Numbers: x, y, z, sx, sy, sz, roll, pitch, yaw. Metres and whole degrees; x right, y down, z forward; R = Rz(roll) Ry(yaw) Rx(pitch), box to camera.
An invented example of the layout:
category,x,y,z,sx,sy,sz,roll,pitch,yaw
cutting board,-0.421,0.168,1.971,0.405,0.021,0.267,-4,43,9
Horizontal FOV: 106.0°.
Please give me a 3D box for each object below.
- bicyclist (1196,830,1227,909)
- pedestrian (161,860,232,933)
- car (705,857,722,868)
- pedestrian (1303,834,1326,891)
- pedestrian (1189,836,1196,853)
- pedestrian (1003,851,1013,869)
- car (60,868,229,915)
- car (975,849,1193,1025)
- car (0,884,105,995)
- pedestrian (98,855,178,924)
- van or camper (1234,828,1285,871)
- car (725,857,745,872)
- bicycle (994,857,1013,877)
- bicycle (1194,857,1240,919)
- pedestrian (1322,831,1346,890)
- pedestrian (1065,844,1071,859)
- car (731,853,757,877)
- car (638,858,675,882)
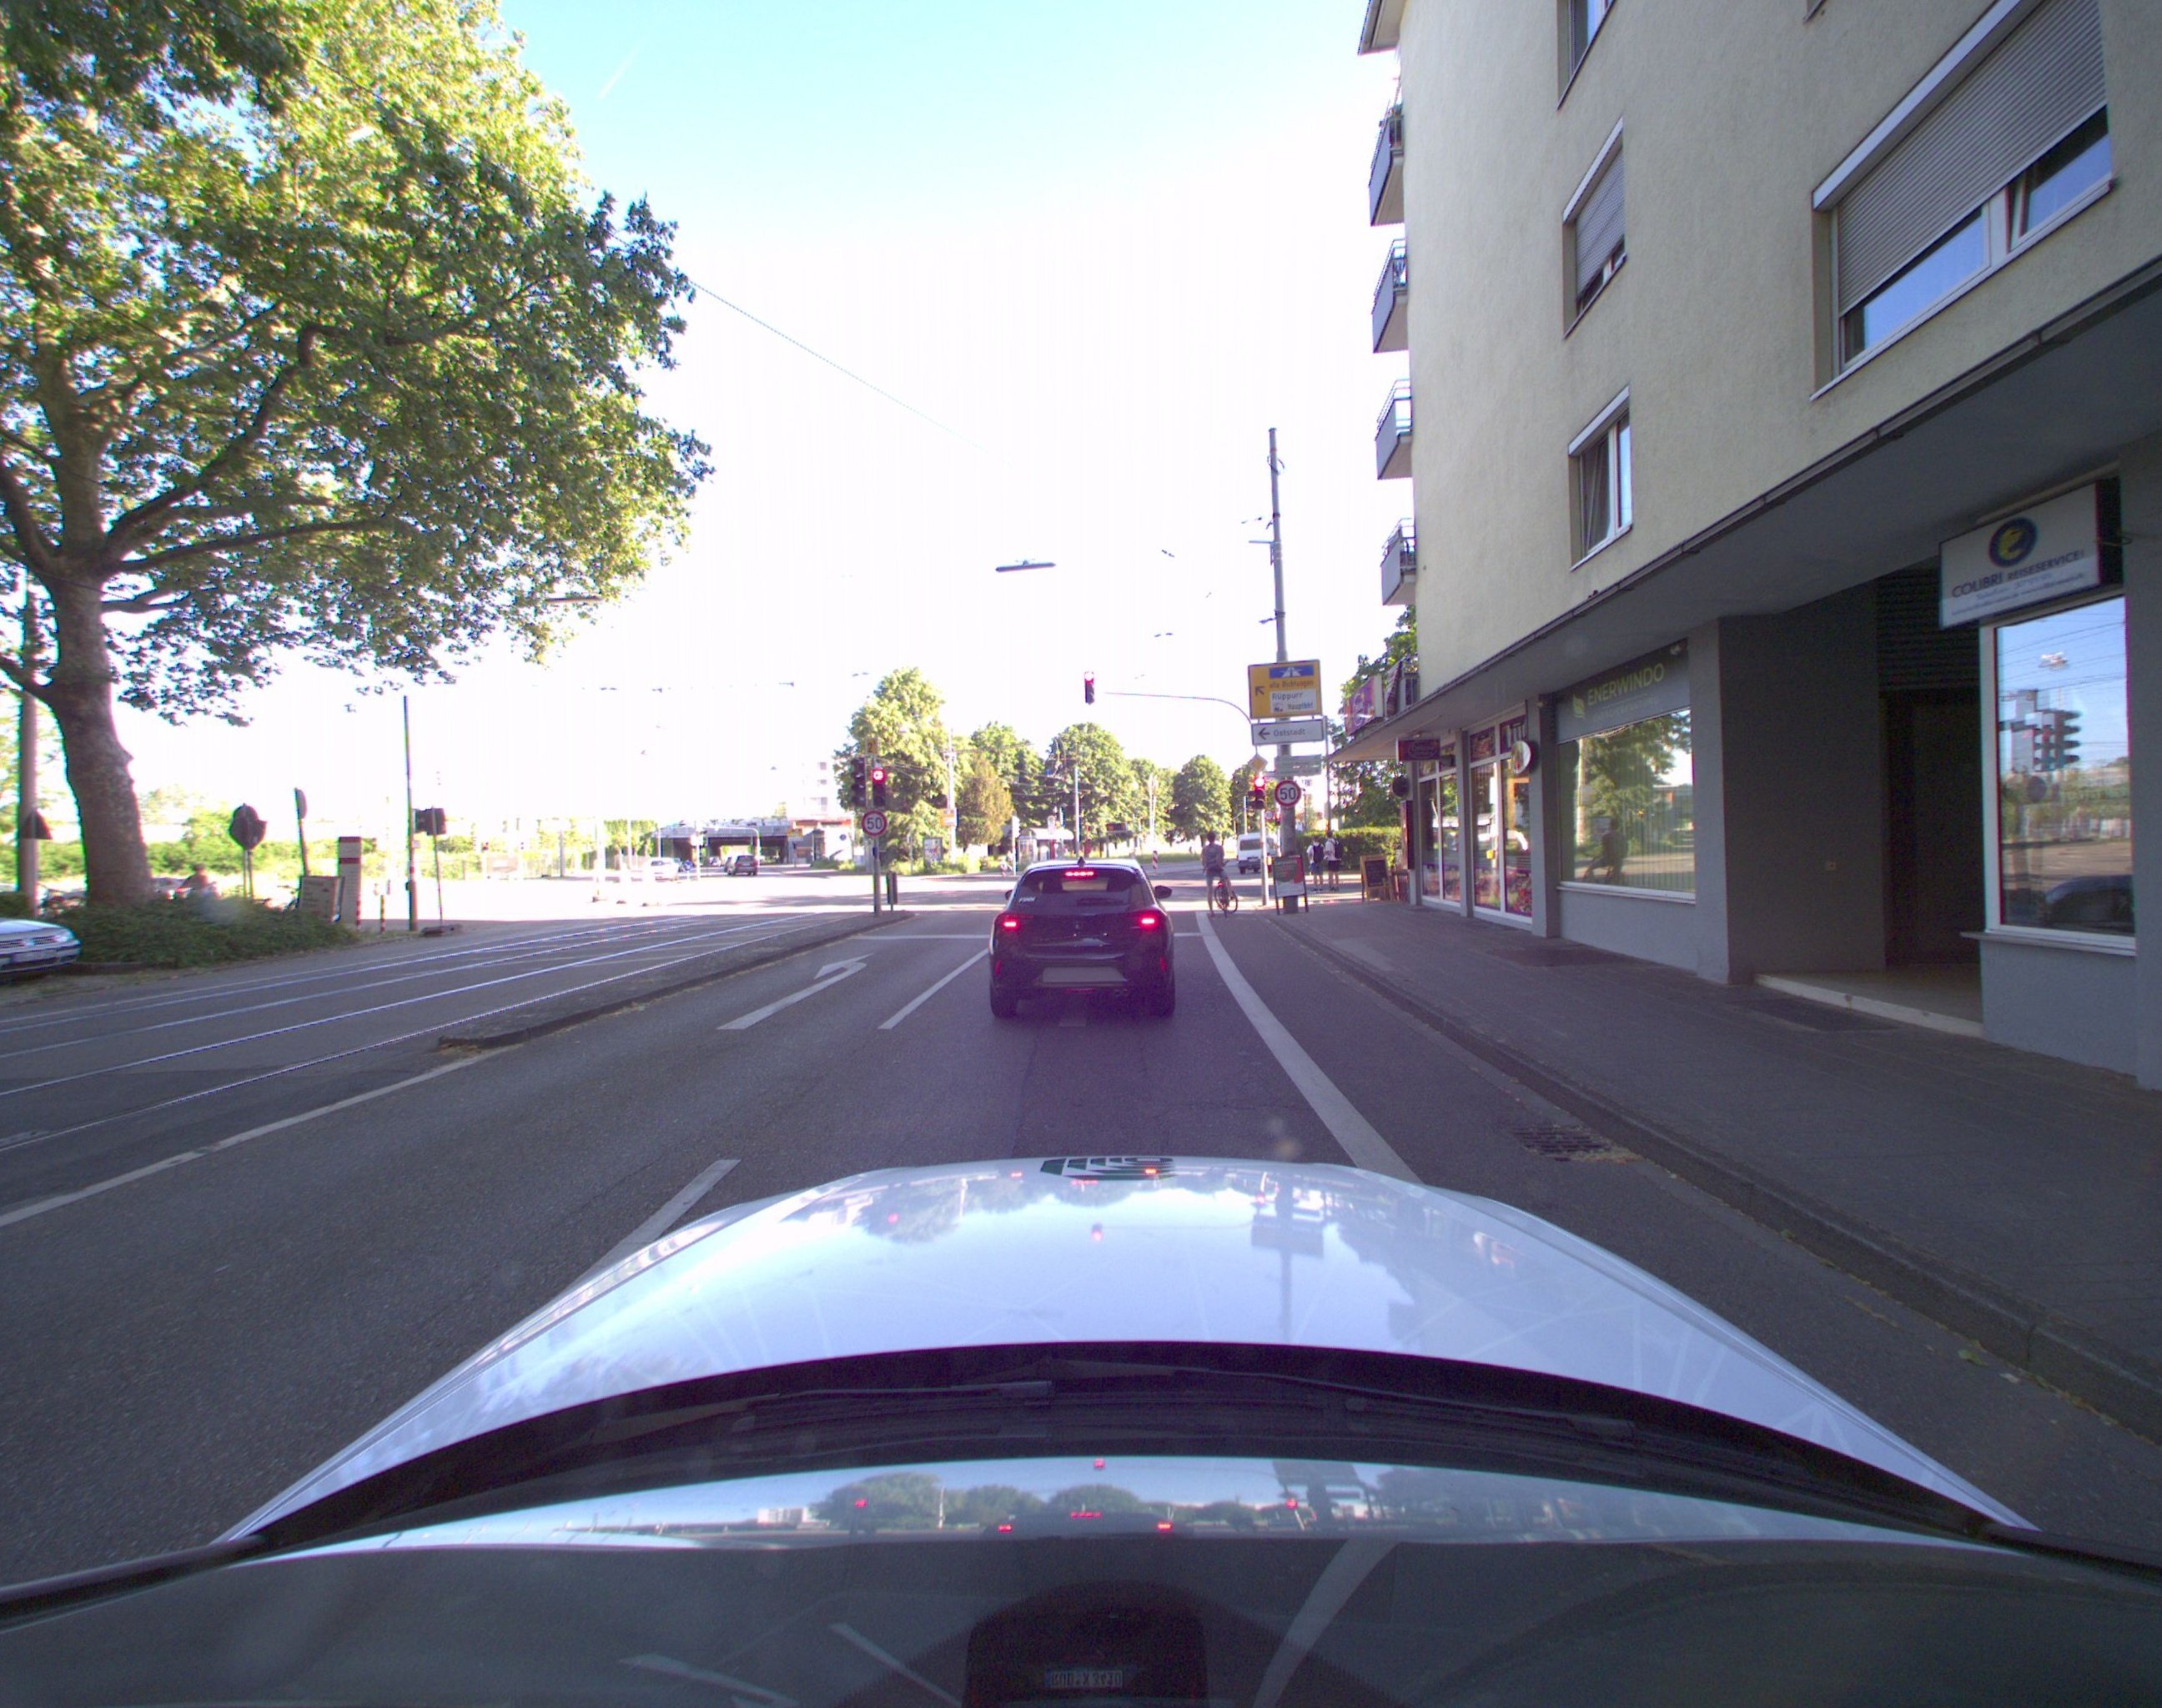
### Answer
category,x,y,z,sx,sy,sz,roll,pitch,yaw
bicyclist,2.871,0.331,17.838,0.529,1.692,0.571,-2,0,19
pedestrian,-21.000,0.987,19.356,0.774,1.661,0.949,0,-1,-19
car,-51.159,1.165,113.341,1.892,1.585,3.809,0,-1,-21
pedestrian,7.324,0.273,25.564,0.627,1.763,0.585,-1,-1,22
pedestrian,12.651,-1.045,92.156,0.608,1.872,0.514,0,-1,-32
pedestrian,-6.150,0.480,68.544,0.566,1.472,0.668,-2,0,11
car,-40.761,1.595,35.629,4.371,1.764,1.970,-2,0,-28
car,0.091,0.702,8.939,1.833,1.462,3.985,-1,0,2
car,-16.631,1.196,11.351,3.957,1.453,1.670,-1,0,-1
pedestrian,-23.220,0.855,20.072,0.842,1.647,0.931,0,-1,1
van or camper,10.192,-0.225,46.221,2.011,2.310,4.565,-1,-1,23
car,-35.668,1.092,83.941,1.806,1.519,4.172,0,-1,-25
bicycle,-4.436,0.753,46.558,0.793,1.064,2.186,-2,0,2
bicycle,3.028,0.714,17.978,0.747,1.235,2.024,-2,0,16
pedestrian,7.916,0.196,25.472,0.627,1.820,0.749,-1,-1,22
pedestrian,-1.624,-0.253,102.164,0.736,1.872,0.661,0,-1,-4
car,-28.515,0.882,68.942,1.916,1.881,4.809,-2,0,-23
car,-29.198,1.066,56.107,1.892,1.585,3.809,0,-1,-21
